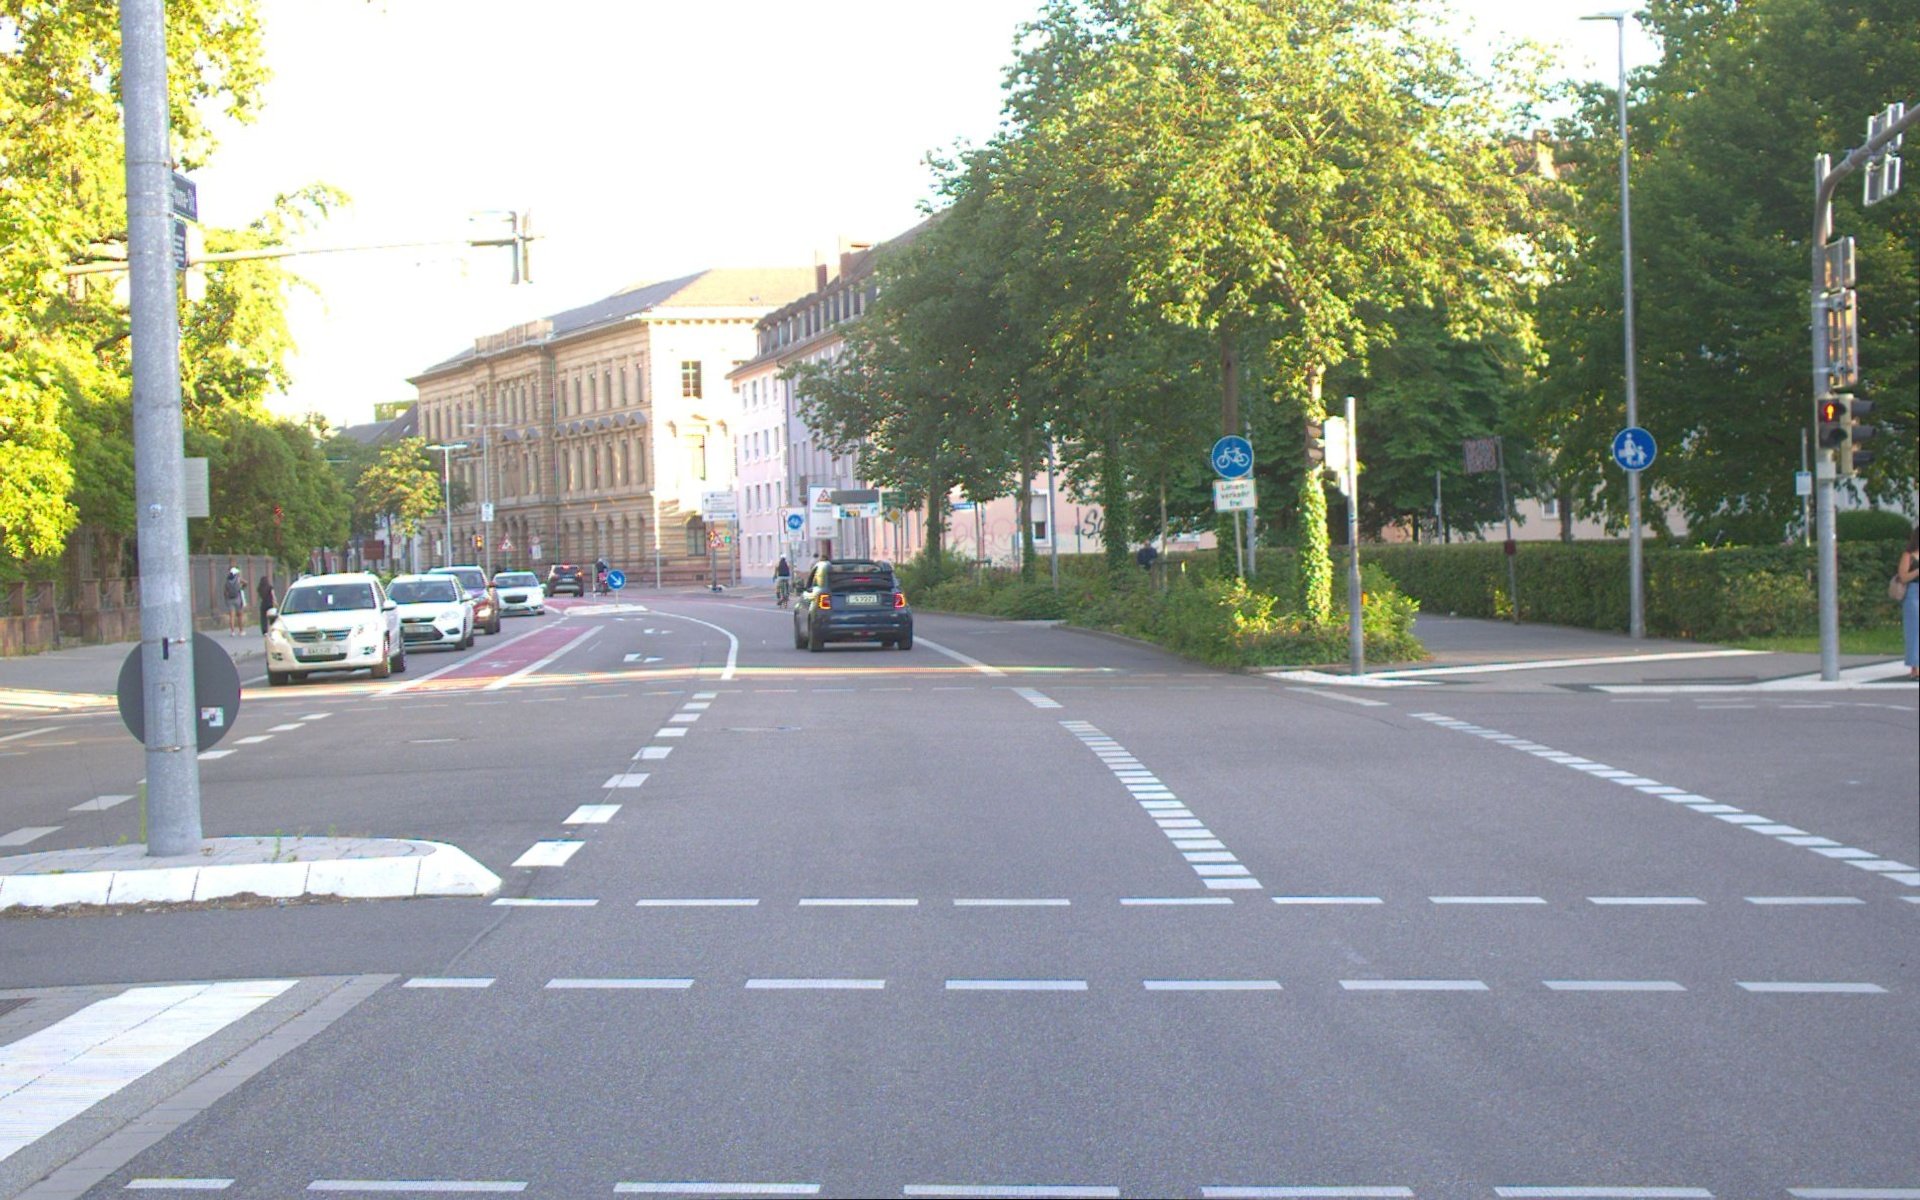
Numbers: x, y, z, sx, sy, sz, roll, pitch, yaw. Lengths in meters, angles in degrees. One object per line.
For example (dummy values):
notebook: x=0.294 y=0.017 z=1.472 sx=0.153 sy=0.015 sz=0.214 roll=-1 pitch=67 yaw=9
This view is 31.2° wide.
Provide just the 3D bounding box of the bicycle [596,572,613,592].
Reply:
bicycle: x=-17.978 y=-0.905 z=173.883 sx=0.652 sy=1.012 sz=2.198 roll=1 pitch=1 yaw=-10

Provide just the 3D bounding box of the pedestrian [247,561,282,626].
pedestrian: x=-17.578 y=-0.157 z=86.893 sx=0.681 sy=1.617 sz=0.688 roll=-2 pitch=1 yaw=-1

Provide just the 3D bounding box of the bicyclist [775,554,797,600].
bicyclist: x=-5.484 y=-0.731 z=108.339 sx=0.652 sy=1.441 sz=0.879 roll=1 pitch=0 yaw=-4

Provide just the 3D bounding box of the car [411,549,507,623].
car: x=-12.016 y=-0.368 z=82.713 sx=1.916 sy=1.619 sz=4.640 roll=-3 pitch=1 yaw=-5

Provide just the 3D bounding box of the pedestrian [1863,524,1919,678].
pedestrian: x=10.163 y=-0.002 z=36.871 sx=0.681 sy=1.616 sz=0.845 roll=-2 pitch=1 yaw=-1

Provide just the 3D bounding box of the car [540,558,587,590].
car: x=-19.615 y=-1.287 z=170.045 sx=1.916 sy=1.413 sz=4.771 roll=-4 pitch=1 yaw=-10

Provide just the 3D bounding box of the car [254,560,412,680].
car: x=-9.822 y=0.273 z=54.131 sx=1.916 sy=1.690 sz=4.427 roll=-3 pitch=1 yaw=-5

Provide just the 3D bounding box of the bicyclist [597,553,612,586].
bicyclist: x=-17.973 y=-1.548 z=173.897 sx=0.652 sy=1.692 sz=0.957 roll=1 pitch=0 yaw=-10

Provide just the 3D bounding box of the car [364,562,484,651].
car: x=-10.565 y=0.093 z=67.974 sx=1.916 sy=1.578 sz=4.675 roll=-3 pitch=1 yaw=-5

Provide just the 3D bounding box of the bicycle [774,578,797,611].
bicycle: x=-5.500 y=-0.184 z=108.374 sx=0.652 sy=1.012 sz=2.198 roll=1 pitch=1 yaw=-4

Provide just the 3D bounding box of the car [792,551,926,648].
car: x=-1.719 y=-0.038 z=57.446 sx=1.867 sy=1.504 sz=4.001 roll=-2 pitch=1 yaw=-7

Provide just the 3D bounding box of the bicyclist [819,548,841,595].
bicyclist: x=-4.142 y=-0.915 z=109.416 sx=0.652 sy=1.470 sz=0.941 roll=1 pitch=0 yaw=-3

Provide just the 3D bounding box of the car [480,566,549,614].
car: x=-14.428 y=-0.346 z=111.535 sx=1.916 sy=1.413 sz=4.771 roll=-3 pitch=1 yaw=-5

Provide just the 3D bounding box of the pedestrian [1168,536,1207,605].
pedestrian: x=5.819 y=-0.752 z=87.857 sx=0.769 sy=1.733 sz=0.807 roll=-2 pitch=1 yaw=-10

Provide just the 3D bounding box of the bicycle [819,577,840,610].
bicycle: x=-4.148 y=-0.218 z=109.234 sx=0.652 sy=1.012 sz=2.198 roll=1 pitch=1 yaw=-2

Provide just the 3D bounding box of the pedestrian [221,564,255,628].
pedestrian: x=-18.308 y=-0.105 z=87.187 sx=0.681 sy=1.617 sz=0.688 roll=-2 pitch=1 yaw=-1
